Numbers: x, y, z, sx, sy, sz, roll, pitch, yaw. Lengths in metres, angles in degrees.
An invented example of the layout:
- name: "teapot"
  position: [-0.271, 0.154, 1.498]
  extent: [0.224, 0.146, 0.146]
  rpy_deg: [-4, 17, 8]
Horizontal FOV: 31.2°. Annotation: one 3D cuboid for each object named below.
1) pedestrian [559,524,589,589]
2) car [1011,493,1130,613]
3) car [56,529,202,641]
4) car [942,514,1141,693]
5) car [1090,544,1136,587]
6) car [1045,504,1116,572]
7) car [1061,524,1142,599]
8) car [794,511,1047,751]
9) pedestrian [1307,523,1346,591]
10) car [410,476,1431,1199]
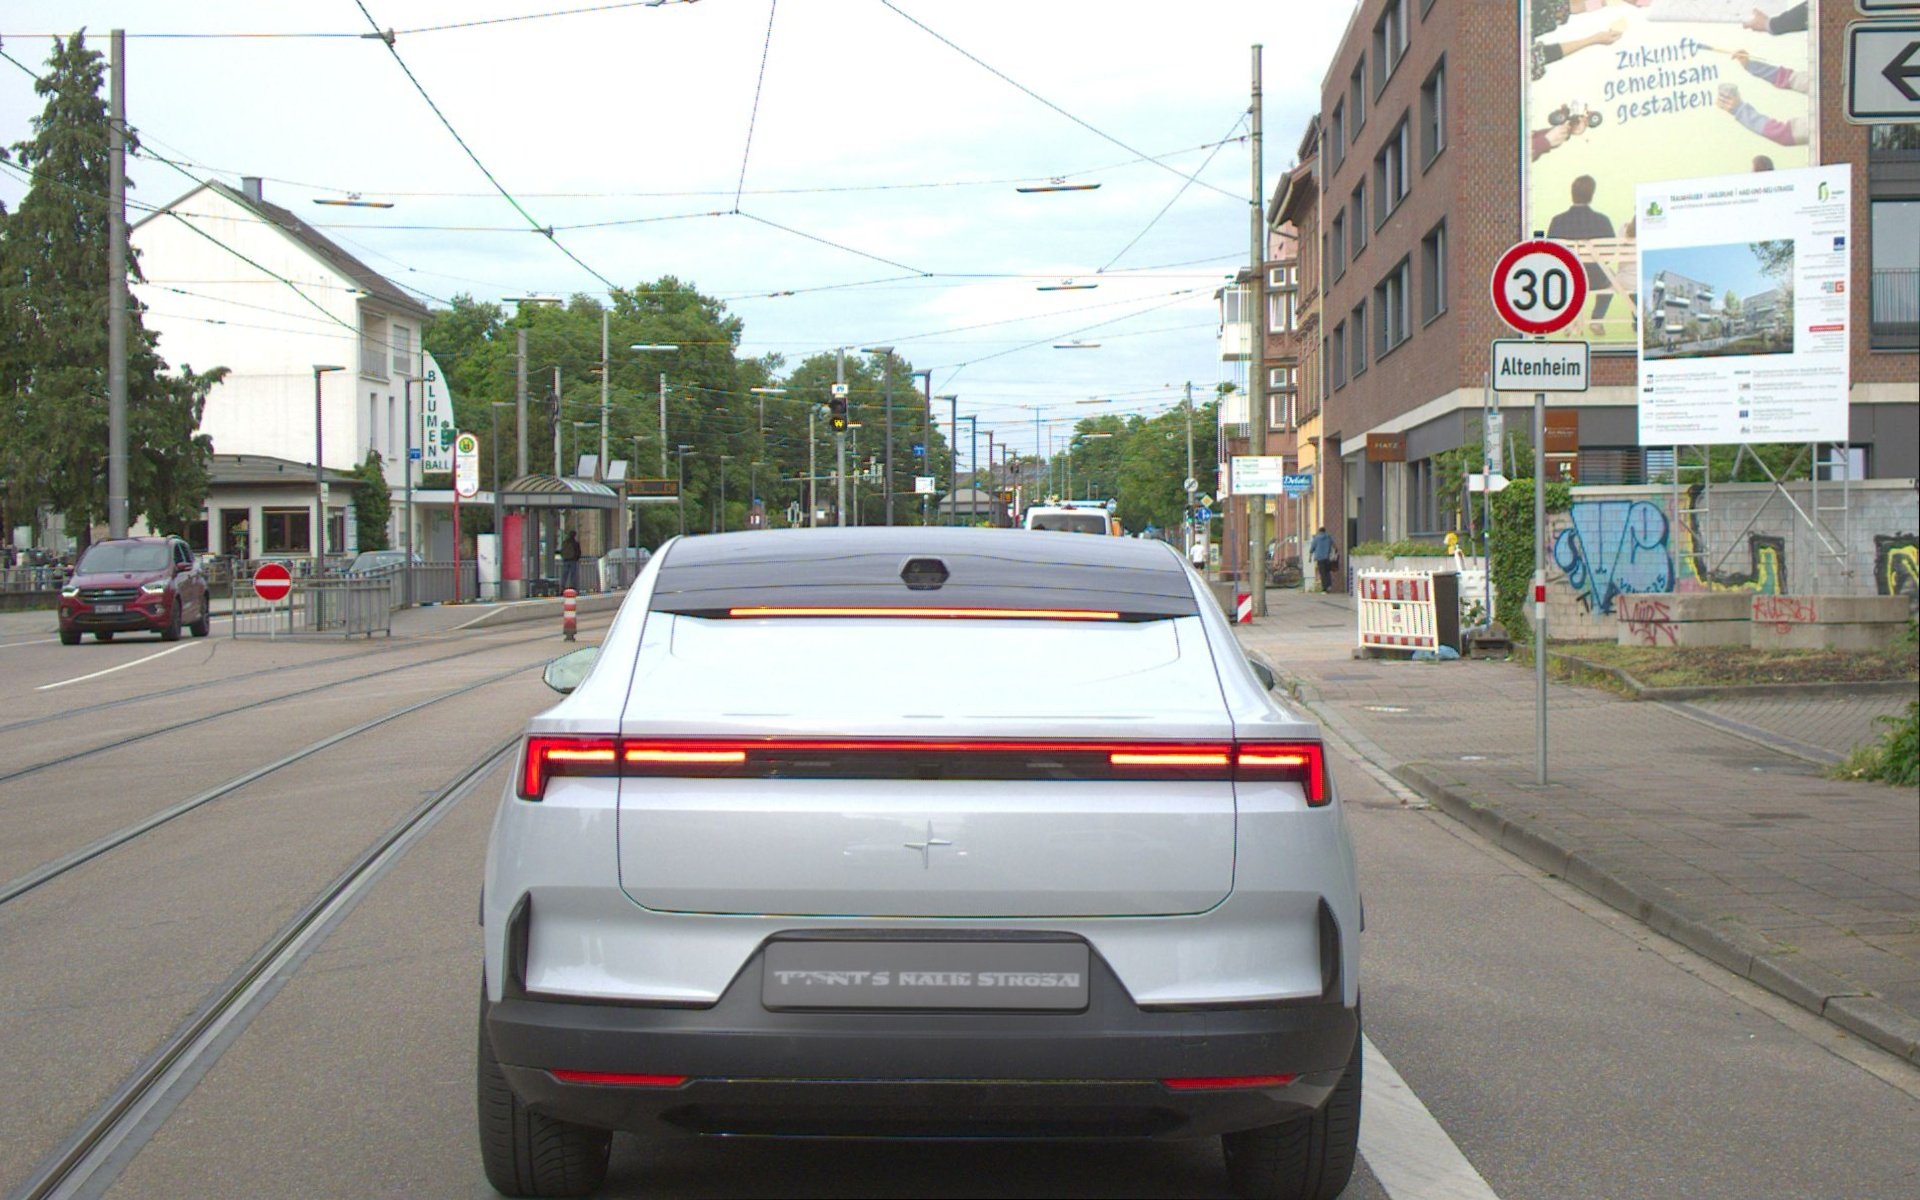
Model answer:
- name: "pedestrian"
  position: [-9.835, -1.103, 87.525]
  extent: [0.615, 1.659, 0.697]
  rpy_deg: [1, 0, 5]
- name: "car"
  position: [2.264, -0.973, 71.876]
  extent: [2.226, 2.394, 5.123]
  rpy_deg: [1, 1, -1]
- name: "car"
  position: [-13.357, -0.260, 55.450]
  extent: [1.842, 1.718, 4.409]
  rpy_deg: [0, 1, -8]
- name: "car"
  position: [0.829, -0.001, 37.358]
  extent: [1.993, 1.809, 4.000]
  rpy_deg: [-1, 1, -1]
- name: "car"
  position: [7.413, -1.681, 166.941]
  extent: [1.993, 2.007, 4.000]
  rpy_deg: [1, 1, -1]
- name: "car"
  position: [3.665, -1.883, 105.256]
  extent: [1.993, 2.007, 4.000]
  rpy_deg: [1, 1, 0]
- name: "car"
  position: [3.863, -1.050, 94.278]
  extent: [1.993, 2.007, 4.000]
  rpy_deg: [1, 1, 0]
- name: "car"
  position: [-0.236, 0.198, 26.295]
  extent: [1.681, 1.682, 3.823]
  rpy_deg: [1, 1, 3]
- name: "pedestrian"
  position: [10.297, -1.216, 96.609]
  extent: [0.961, 1.843, 0.975]
  rpy_deg: [-2, 1, 9]
- name: "car"
  position: [-0.136, 0.541, 8.793]
  extent: [1.999, 1.575, 4.000]
  rpy_deg: [1, 0, -2]
